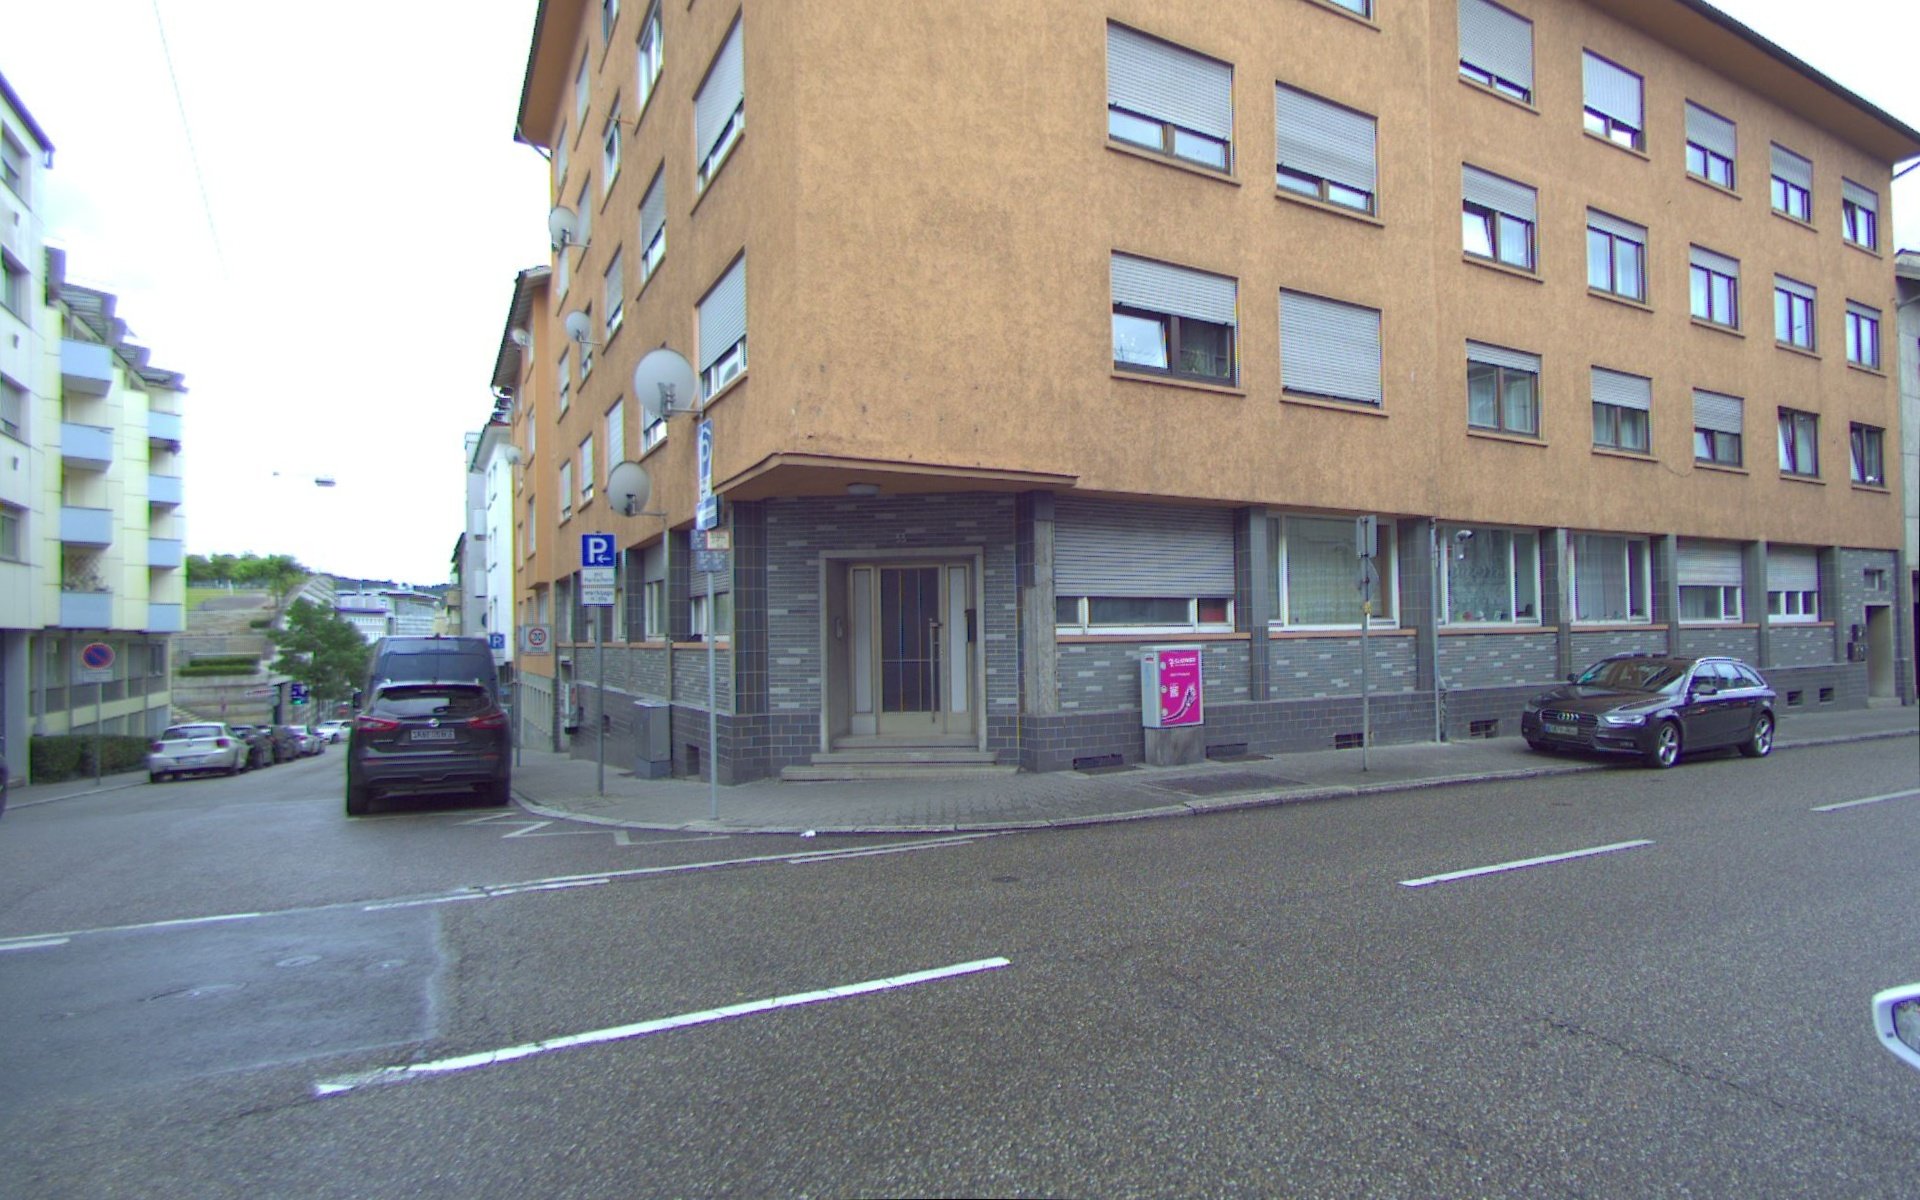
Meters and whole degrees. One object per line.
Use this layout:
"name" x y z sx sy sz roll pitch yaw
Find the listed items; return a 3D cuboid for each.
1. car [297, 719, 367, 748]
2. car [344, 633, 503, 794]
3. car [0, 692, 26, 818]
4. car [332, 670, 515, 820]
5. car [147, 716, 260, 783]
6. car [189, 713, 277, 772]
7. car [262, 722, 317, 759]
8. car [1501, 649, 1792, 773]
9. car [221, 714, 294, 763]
"car" -39.776 8.433 63.746 1.893 1.696 4.057 -2 -6 0
"car" -10.046 2.108 18.827 2.223 2.492 6.017 1 -7 -29
"car" -13.297 1.960 12.238 1.774 1.708 4.216 1 -7 -29
"car" -7.055 1.857 13.233 1.820 1.596 4.127 1 -7 -29
"car" -20.004 3.921 26.731 1.819 1.566 3.973 1 -7 -29
"car" -22.670 4.412 31.451 1.727 1.634 3.973 1 -7 -29
"car" -30.384 6.375 45.612 1.727 1.483 3.974 1 -8 -29
"car" 10.079 1.504 14.673 4.474 1.457 1.786 1 0 -31
"car" -25.783 5.104 36.979 1.727 1.634 3.974 1 -8 -29
